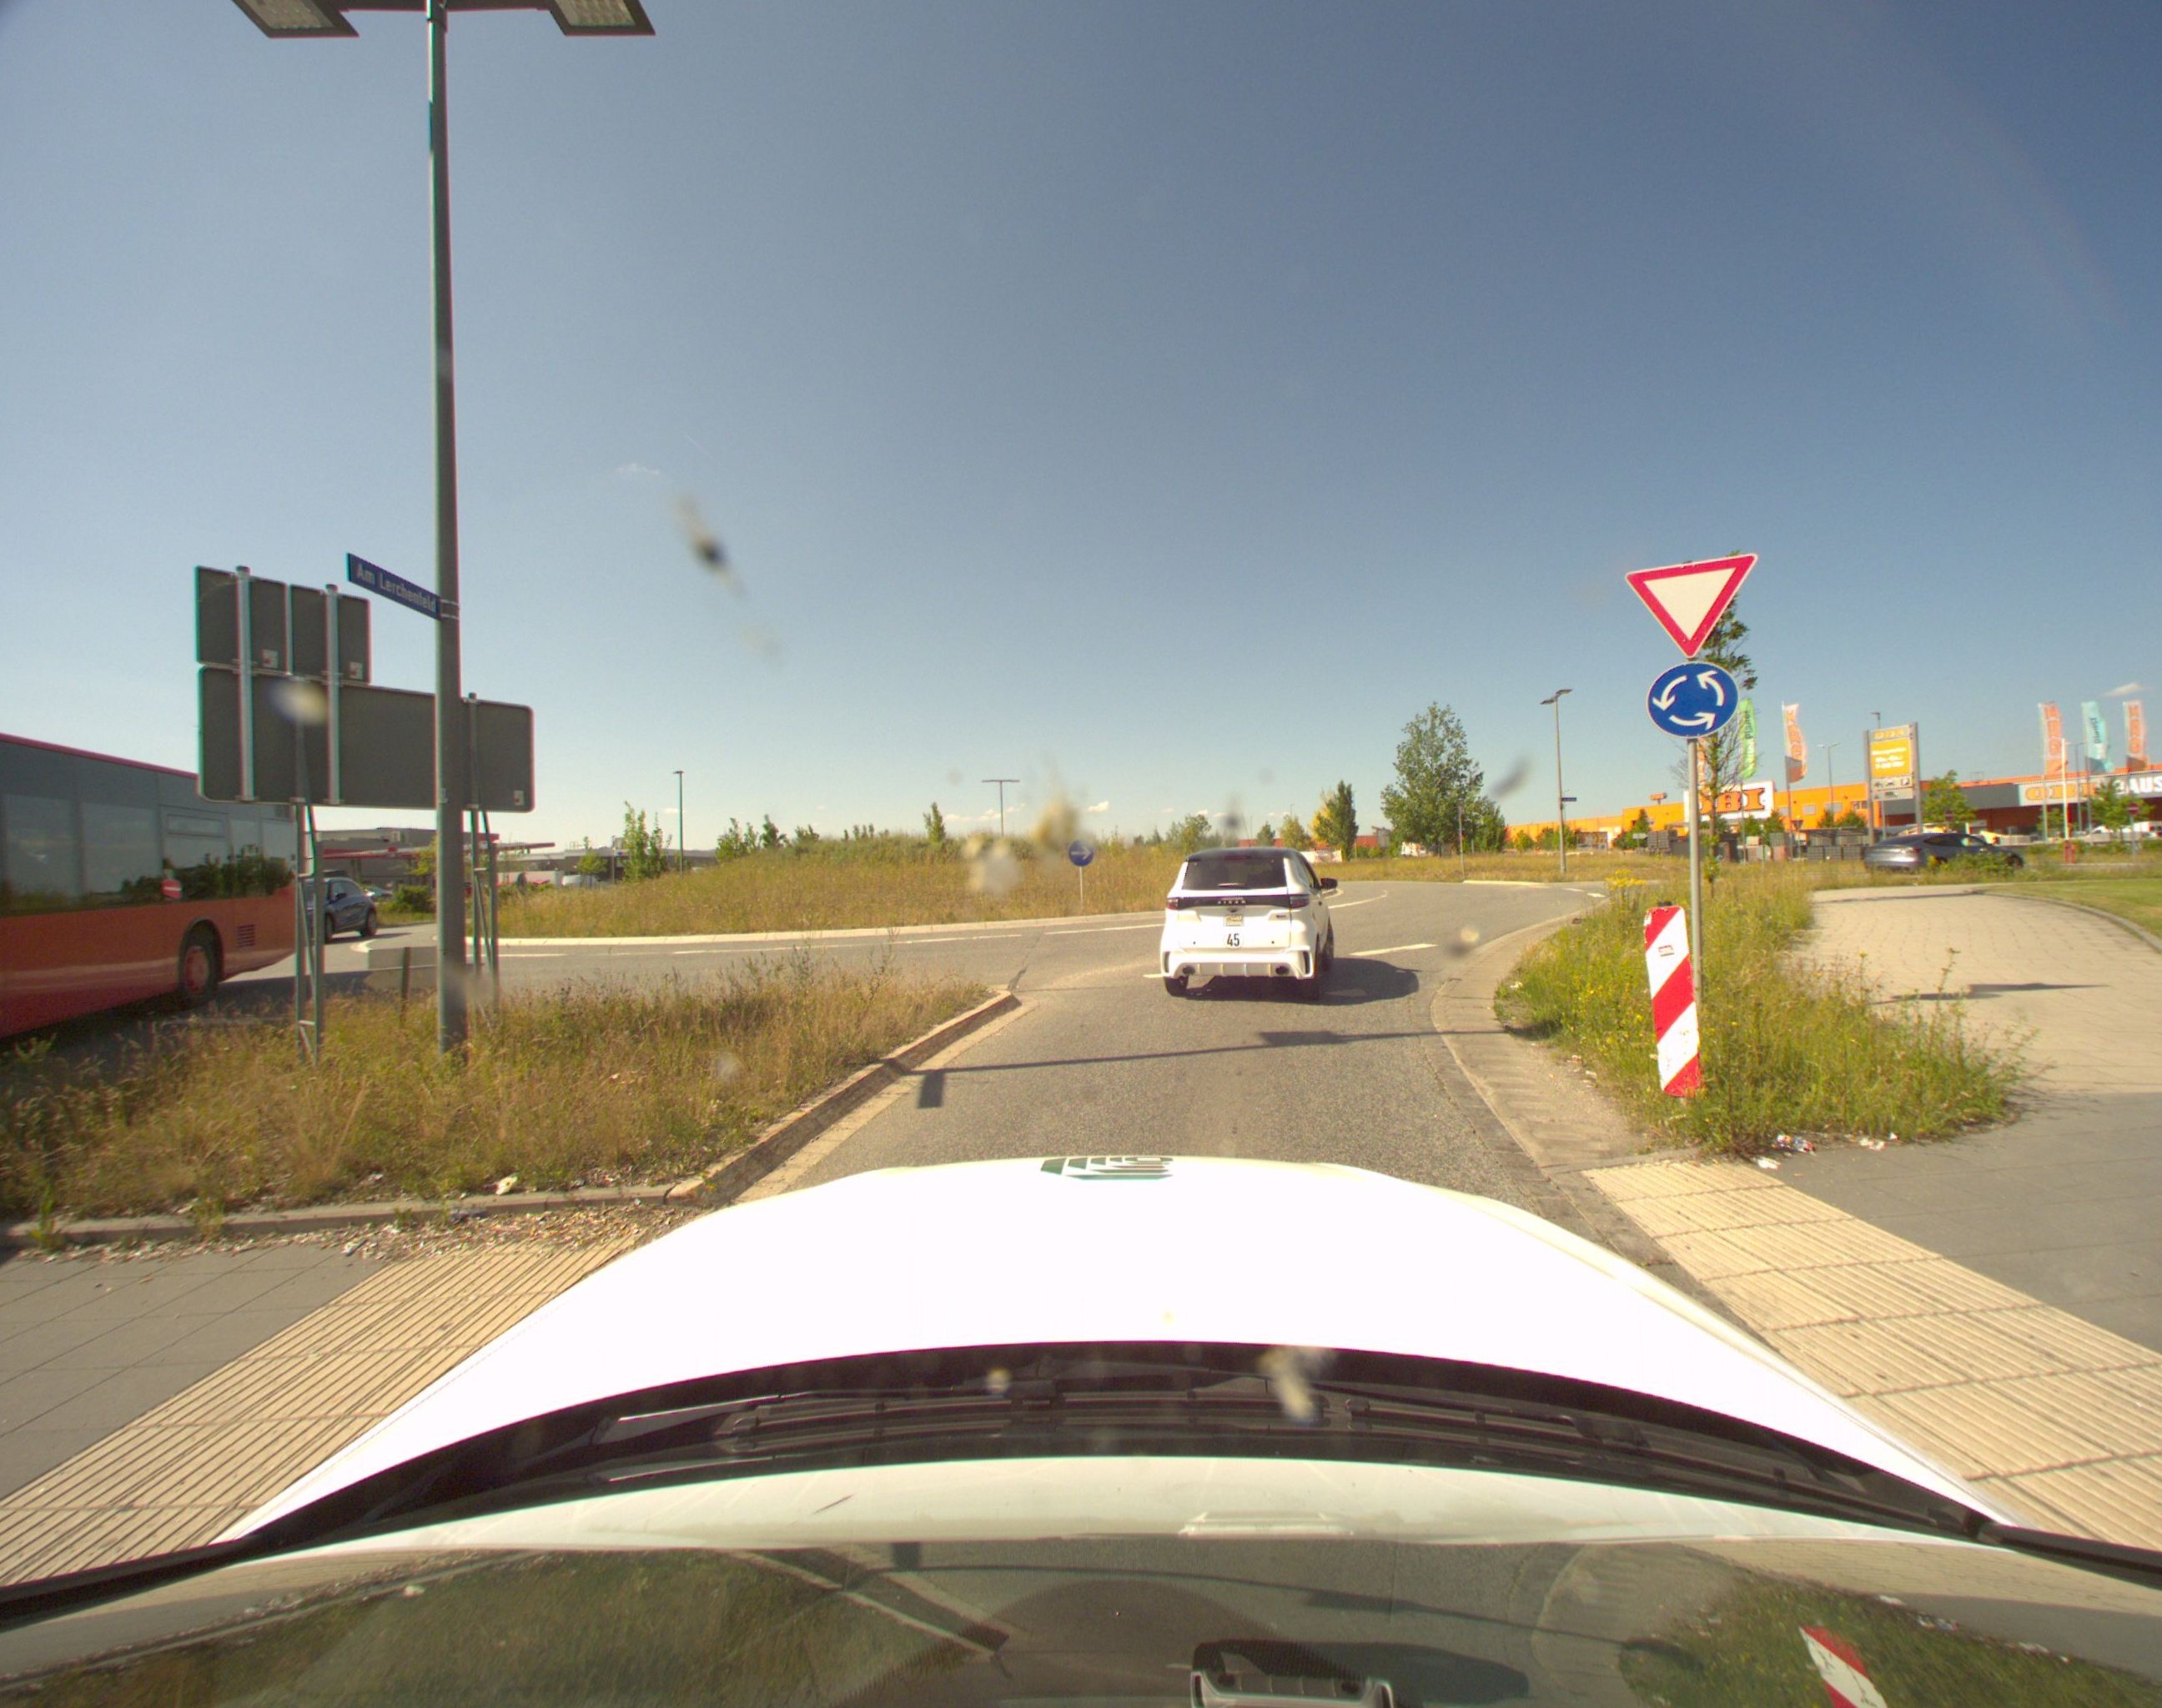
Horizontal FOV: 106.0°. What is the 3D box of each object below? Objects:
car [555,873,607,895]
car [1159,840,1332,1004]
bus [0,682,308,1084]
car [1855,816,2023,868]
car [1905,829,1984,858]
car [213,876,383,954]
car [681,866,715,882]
[{"bbox_3d":[-47.639,2.818,77.754,1.989,2.014,5.130,-2,-1,-3],"label":"car"},{"bbox_3d":[1.998,0.602,9.167,1.497,1.440,3.367,-1,1,18],"label":"car"},{"bbox_3d":[-10.425,0.293,6.944,2.625,3.241,11.767,-3,0,-29],"label":"bus"},{"bbox_3d":[29.549,-0.388,28.106,4.150,1.584,1.827,-2,-1,-7],"label":"car"},{"bbox_3d":[58.093,-0.699,54.819,3.757,1.841,1.696,0,-1,-6],"label":"car"},{"bbox_3d":[-19.547,1.436,20.574,1.860,1.635,4.045,-3,0,-26],"label":"car"},{"bbox_3d":[-43.571,2.277,92.632,1.988,1.732,3.997,-2,-1,-1],"label":"car"}]
